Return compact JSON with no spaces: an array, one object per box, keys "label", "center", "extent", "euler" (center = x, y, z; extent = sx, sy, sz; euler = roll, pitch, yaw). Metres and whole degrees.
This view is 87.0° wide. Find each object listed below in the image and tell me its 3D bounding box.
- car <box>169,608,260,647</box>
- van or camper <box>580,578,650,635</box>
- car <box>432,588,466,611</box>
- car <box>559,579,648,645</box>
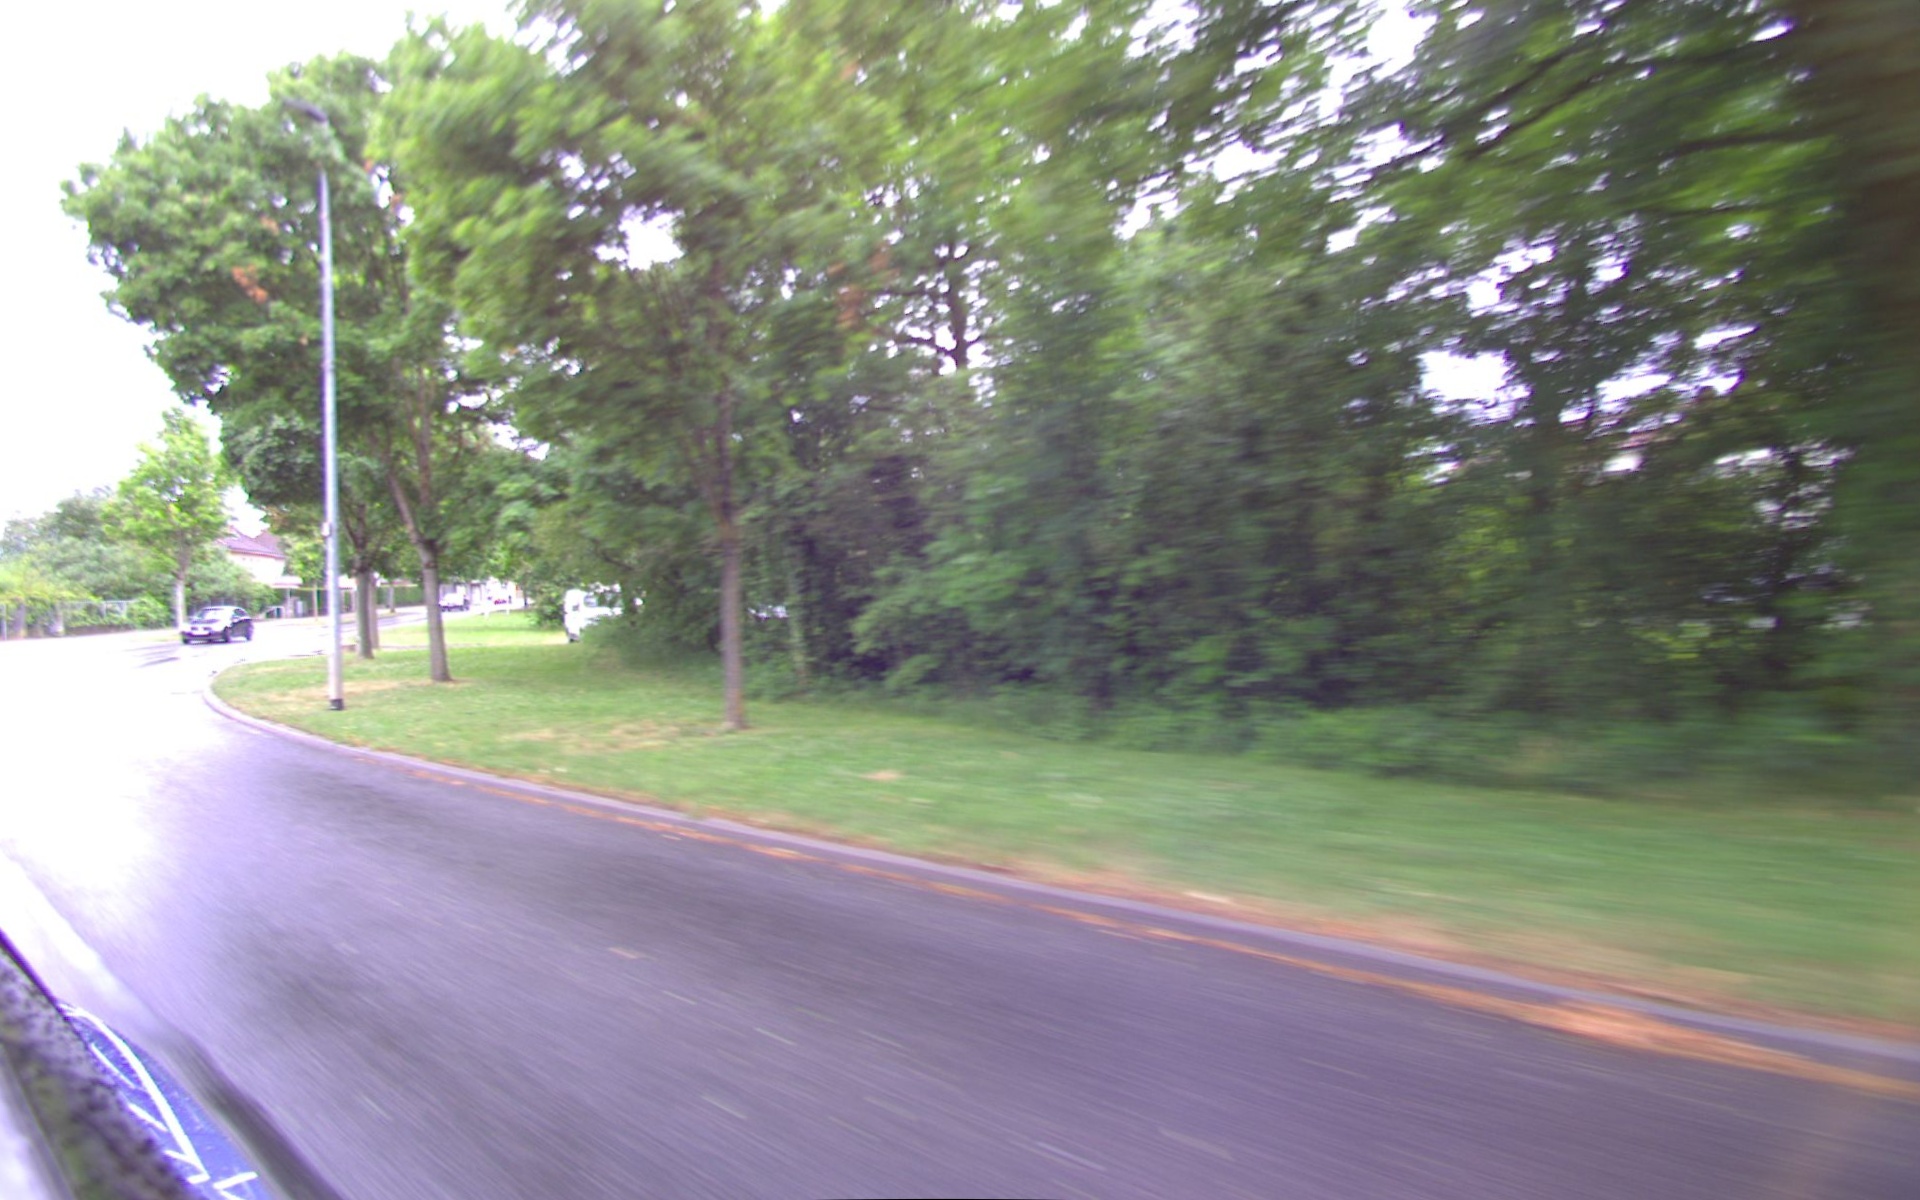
[{"label":"car","center":[-31.982,1.135,43.547],"extent":[1.898,1.392,4.322],"euler":[-3,2,-19]},{"label":"van or camper","center":[-15.585,0.225,45.431],"extent":[2.350,2.378,6.834],"euler":[0,1,-24]},{"label":"car","center":[-46.552,-0.053,92.309],"extent":[1.966,1.872,4.012],"euler":[-3,2,-17]},{"label":"car","center":[-12.125,0.498,34.190],"extent":[2.097,2.001,5.491],"euler":[1,-3,-27]}]
